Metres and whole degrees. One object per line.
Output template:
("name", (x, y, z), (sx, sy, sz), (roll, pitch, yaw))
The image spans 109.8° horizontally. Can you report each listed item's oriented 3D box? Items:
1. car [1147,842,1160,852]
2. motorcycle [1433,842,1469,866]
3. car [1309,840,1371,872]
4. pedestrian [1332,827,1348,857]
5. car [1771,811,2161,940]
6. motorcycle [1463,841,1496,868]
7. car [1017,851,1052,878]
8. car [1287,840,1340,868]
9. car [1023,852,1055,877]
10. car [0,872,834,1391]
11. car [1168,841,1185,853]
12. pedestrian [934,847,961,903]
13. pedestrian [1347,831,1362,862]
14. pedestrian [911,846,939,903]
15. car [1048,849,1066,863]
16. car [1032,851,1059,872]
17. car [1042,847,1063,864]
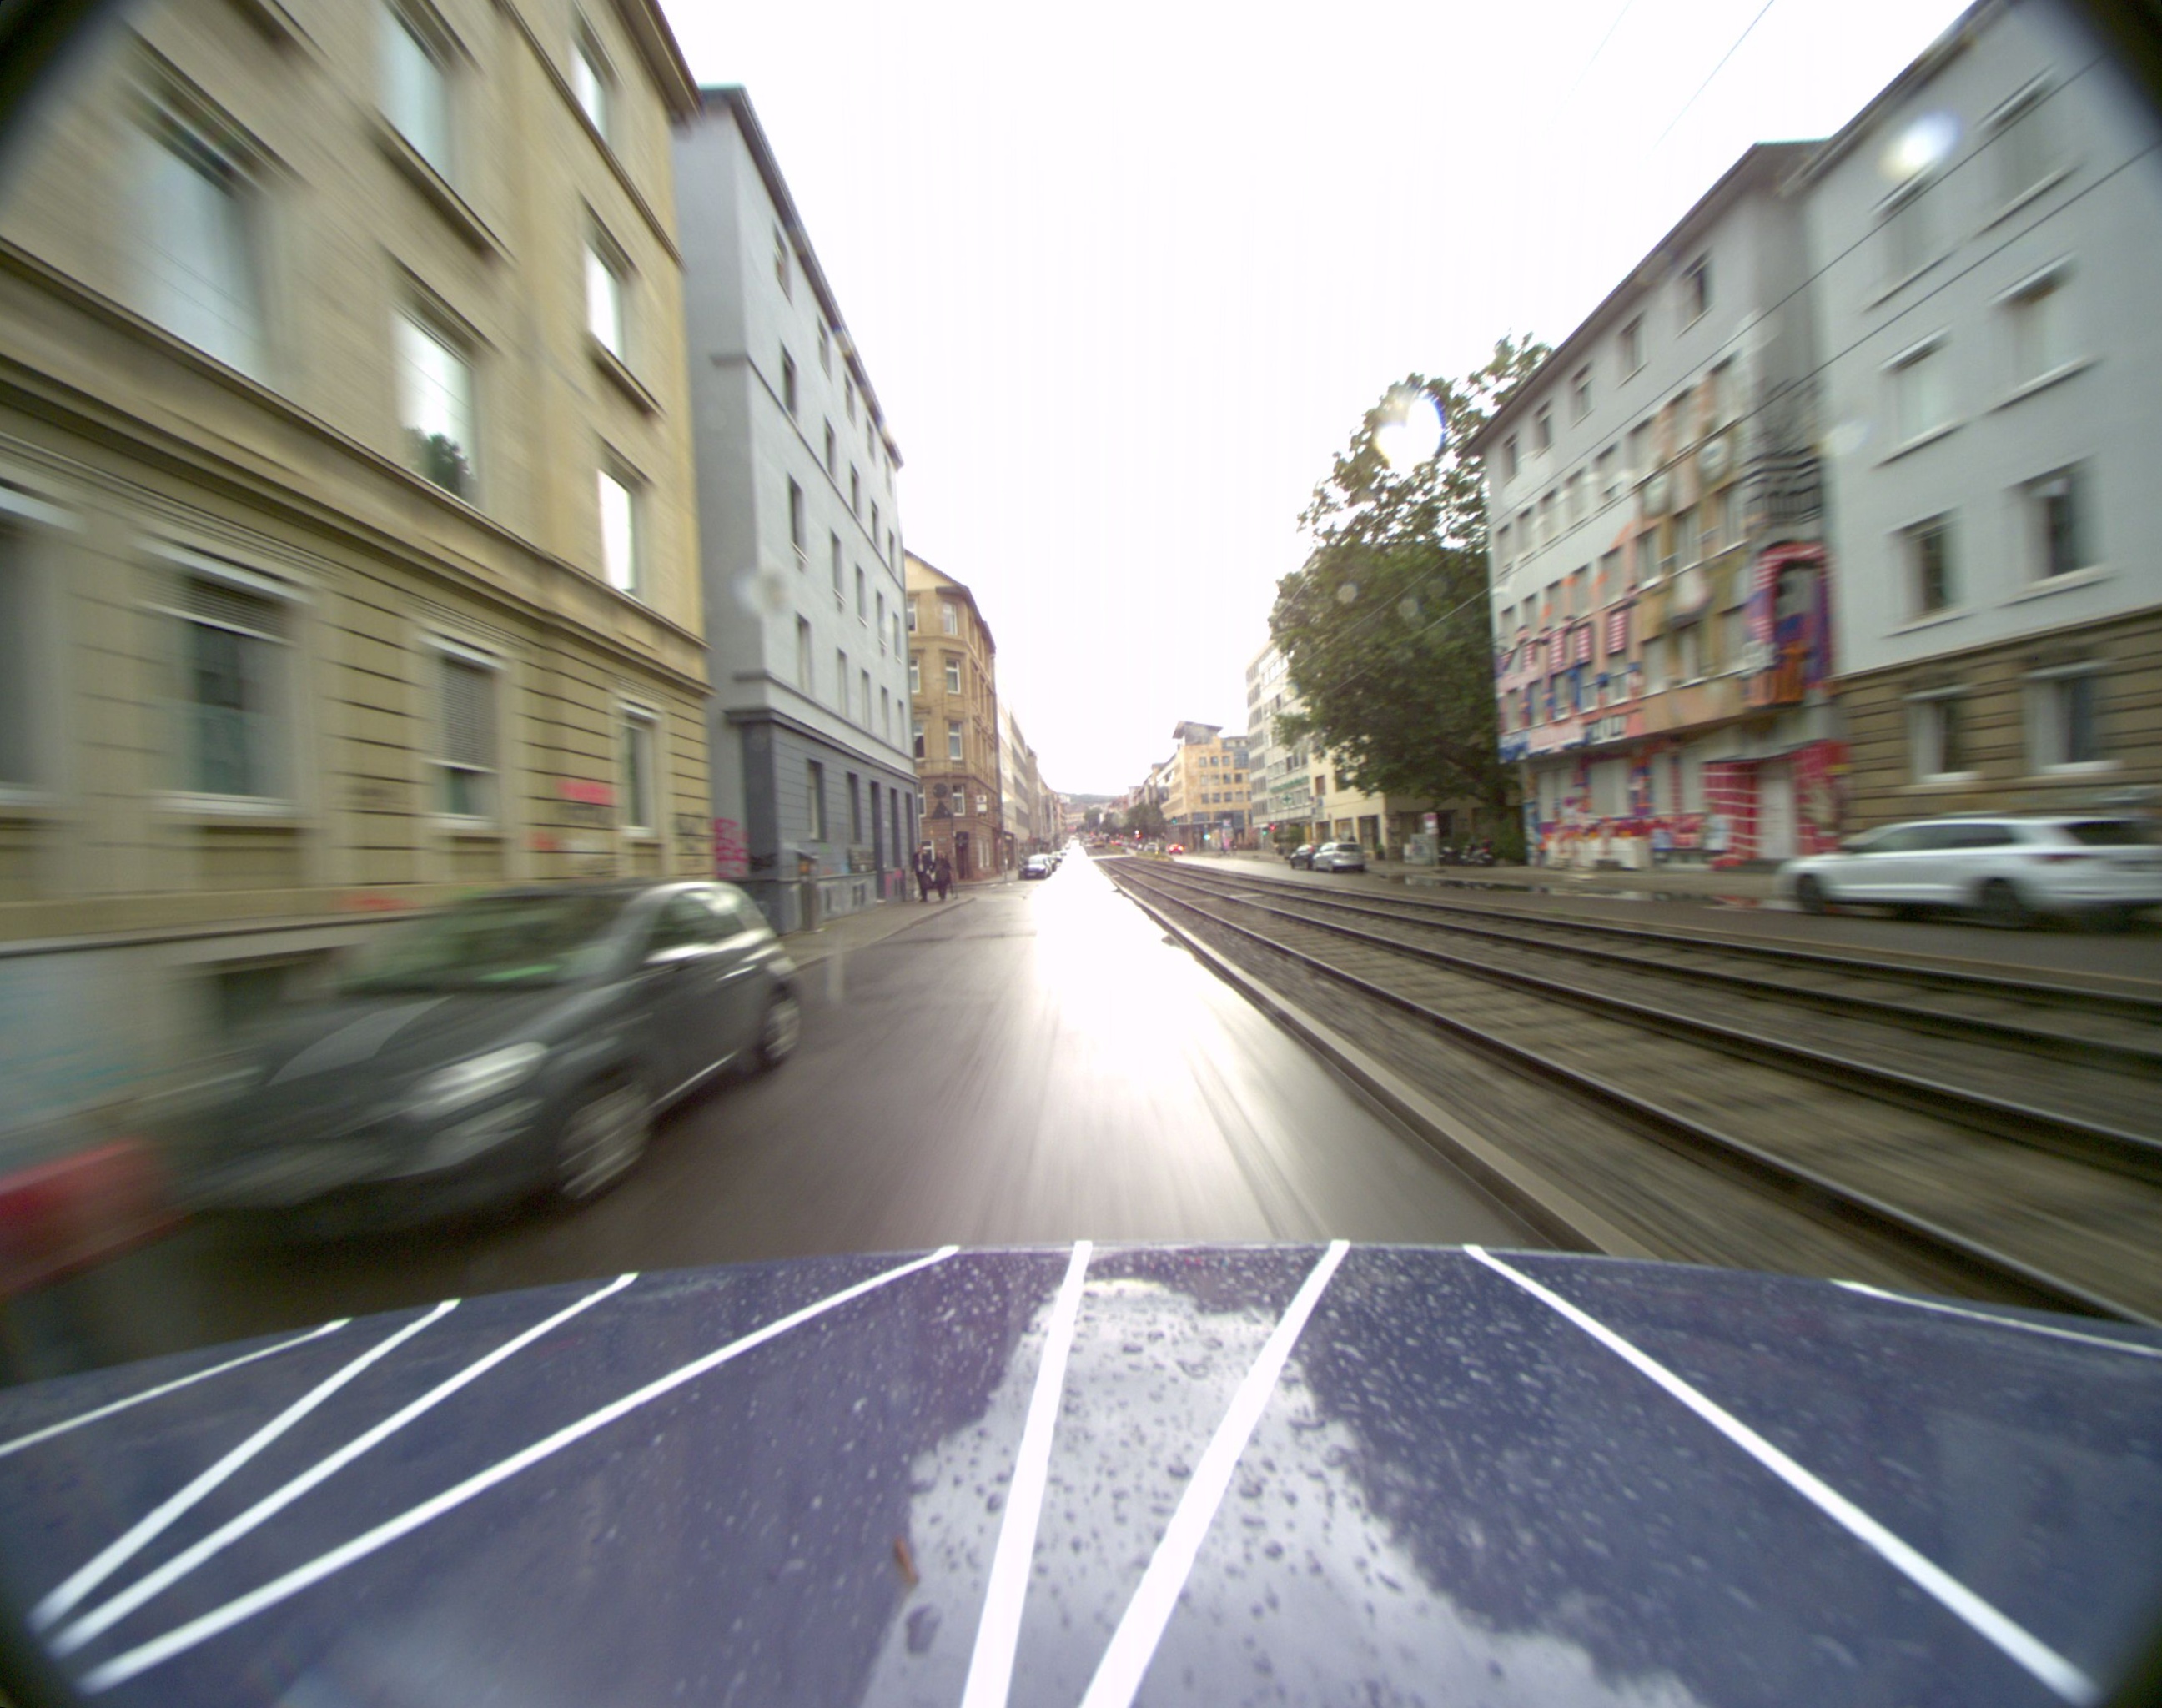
("car", (14.397, -1.384, 151.085), (1.998, 1.674, 4.000), (-4, 0, 1))
("motorcycle", (18.098, -0.008, 37.251), (0.472, 1.139, 2.566), (-4, 0, 1))
("car", (13.631, 0.095, 40.232), (1.842, 1.532, 4.228), (-2, 0, 1))
("pedestrian", (16.185, -0.740, 47.494), (0.809, 1.858, 0.536), (-3, 0, 4))
("car", (13.488, 0.252, 11.689), (1.843, 1.596, 4.227), (-2, 0, -1))
("motorcycle", (18.145, 0.012, 34.647), (0.437, 1.174, 2.017), (-4, 0, 1))
("car", (-3.083, 0.667, 51.195), (1.998, 1.674, 4.124), (-4, 0, 1))
("car", (13.672, -0.028, 44.892), (1.842, 1.532, 4.228), (-2, 0, 1))
("car", (-3.046, 0.723, 56.006), (1.998, 1.674, 4.124), (-4, 0, 1))
("car", (-3.111, 0.978, 4.682), (1.760, 1.521, 4.333), (-4, 0, -1))
("car", (14.359, -1.000, 113.878), (1.998, 1.674, 4.000), (-4, 0, 1))
("pedestrian", (-4.646, 0.722, 26.509), (0.716, 1.879, 0.599), (-4, 1, -2))
("pedestrian", (17.073, -0.477, 47.410), (0.651, 1.858, 0.536), (-3, 0, 4))
("pedestrian", (-5.417, 0.708, 26.382), (0.765, 1.902, 0.588), (-4, 1, -2))
("car", (-3.128, 0.252, 98.983), (1.998, 1.674, 4.124), (-4, 0, 1))
("car", (-3.082, 0.613, 66.811), (1.998, 1.674, 4.124), (-4, 0, 1))
("car", (-3.136, 0.137, 84.415), (1.998, 1.674, 4.124), (-4, 0, 1))
